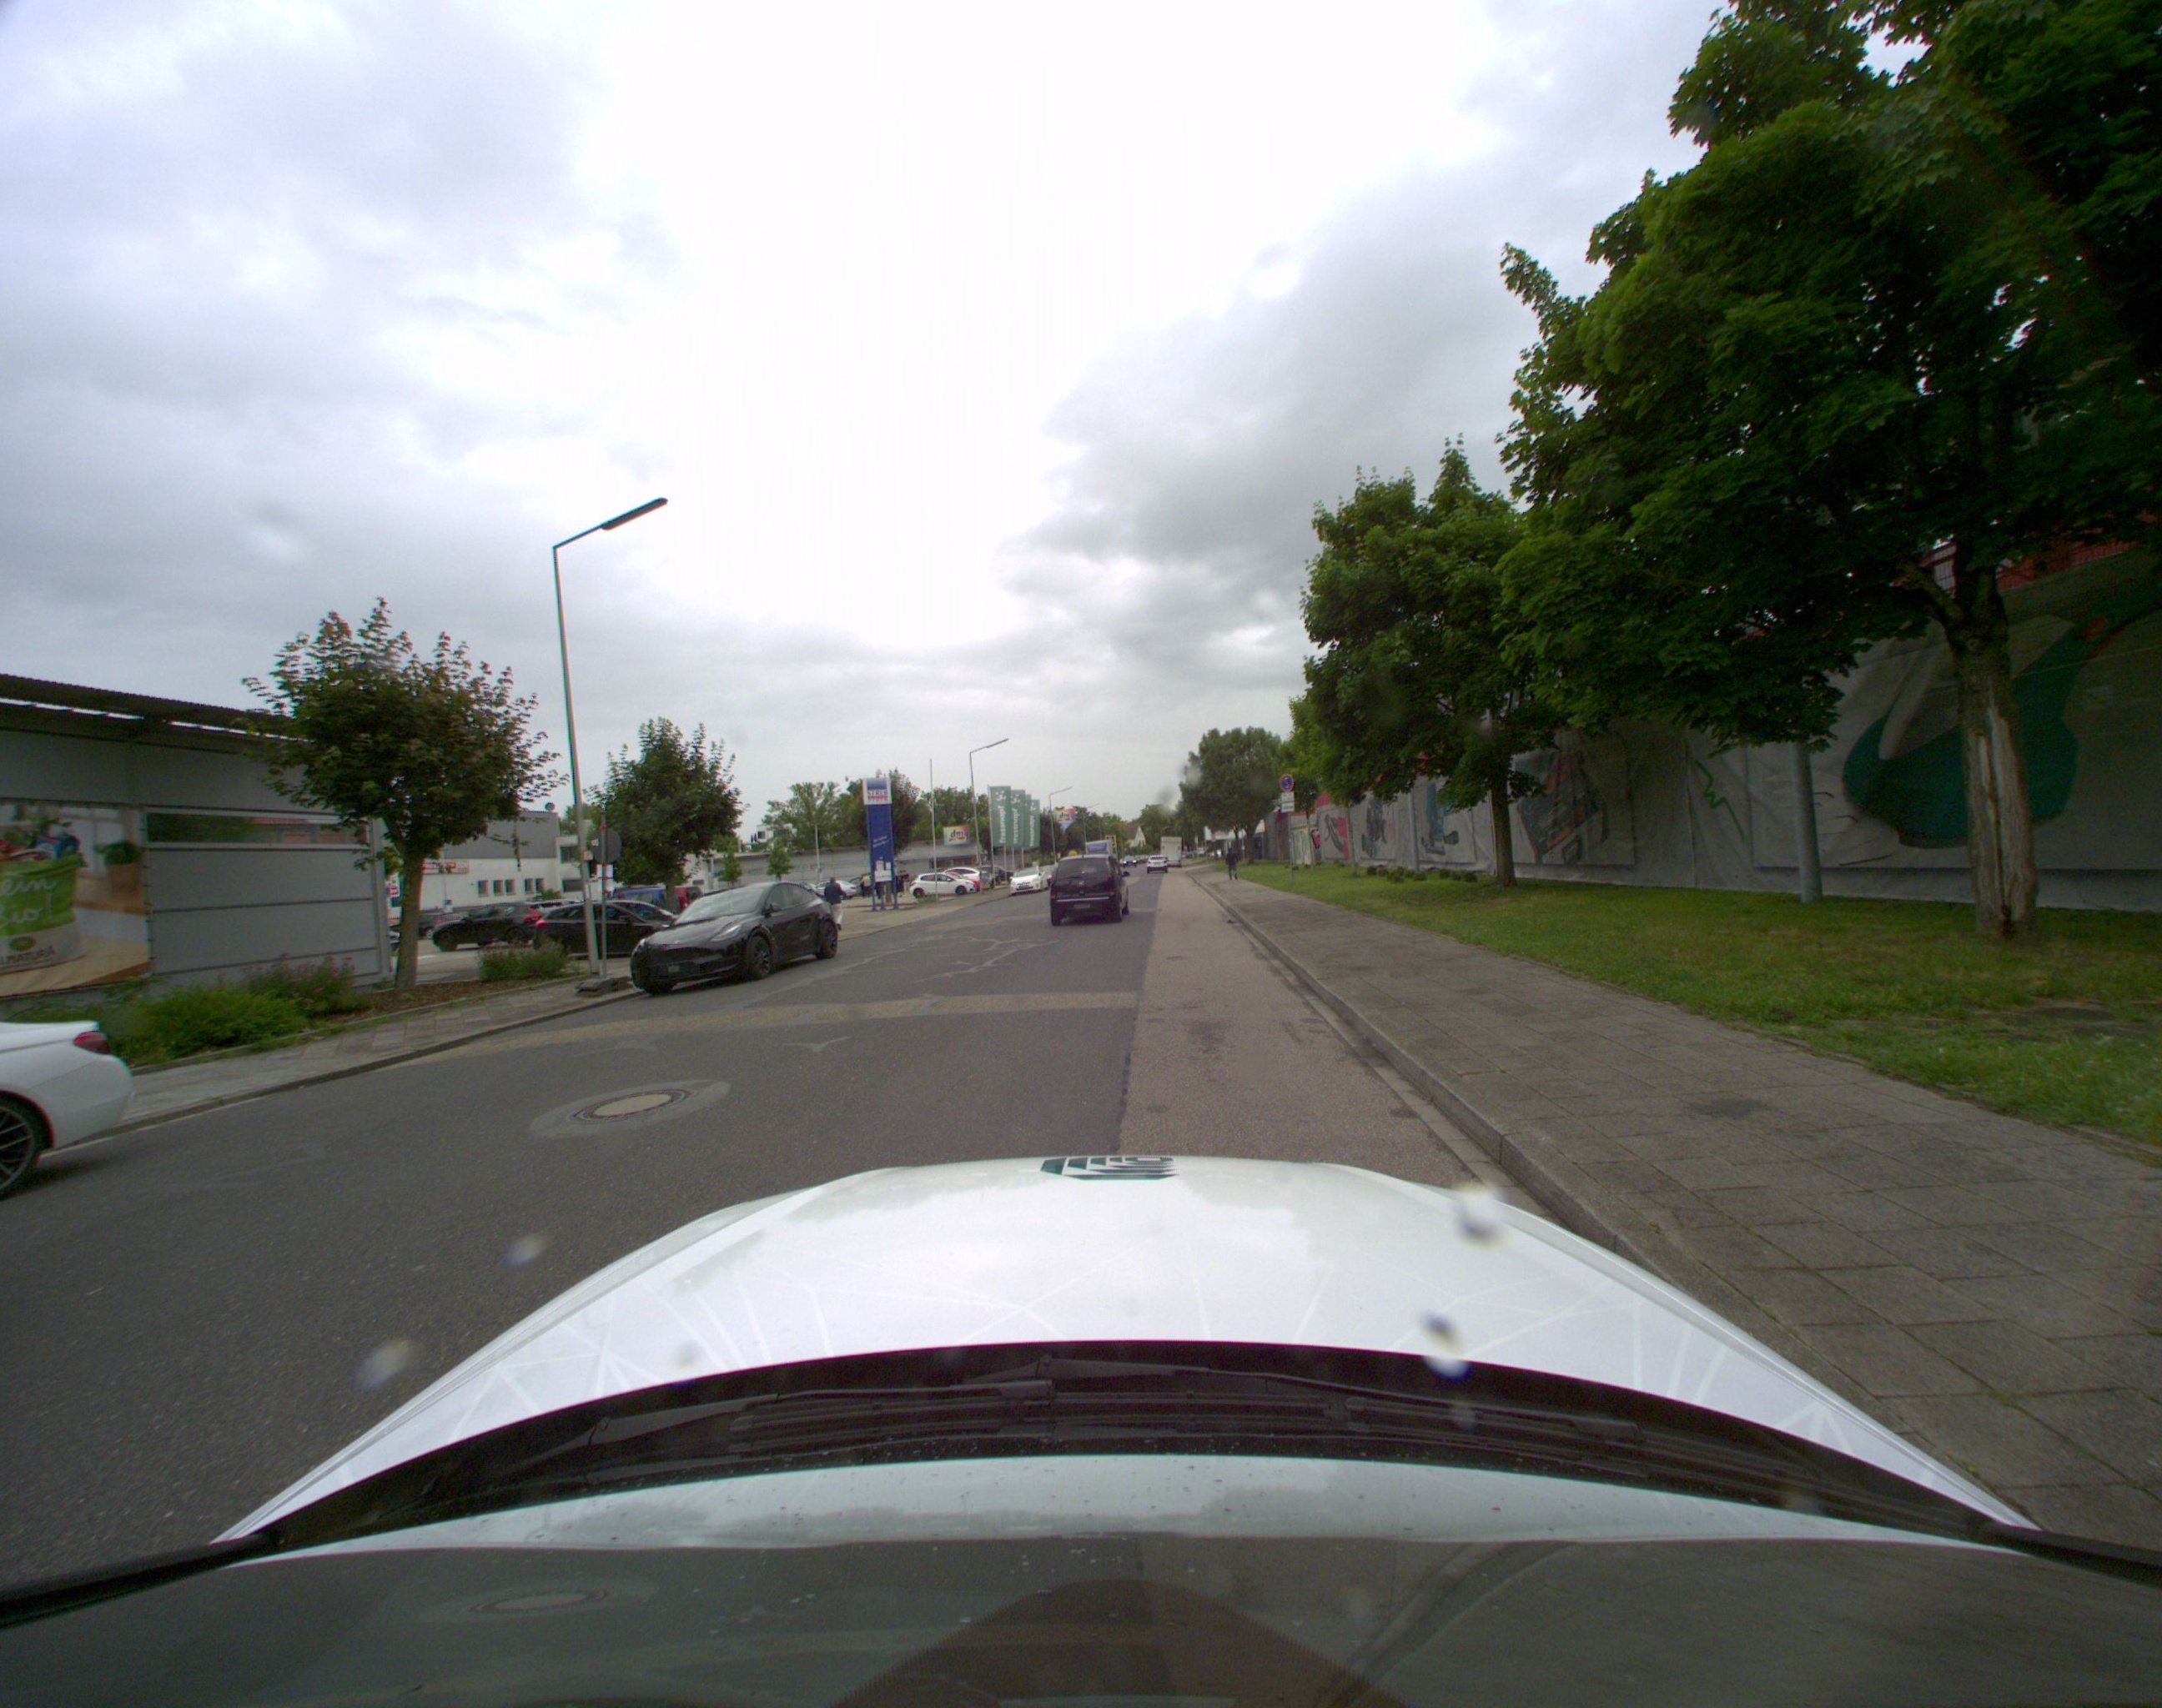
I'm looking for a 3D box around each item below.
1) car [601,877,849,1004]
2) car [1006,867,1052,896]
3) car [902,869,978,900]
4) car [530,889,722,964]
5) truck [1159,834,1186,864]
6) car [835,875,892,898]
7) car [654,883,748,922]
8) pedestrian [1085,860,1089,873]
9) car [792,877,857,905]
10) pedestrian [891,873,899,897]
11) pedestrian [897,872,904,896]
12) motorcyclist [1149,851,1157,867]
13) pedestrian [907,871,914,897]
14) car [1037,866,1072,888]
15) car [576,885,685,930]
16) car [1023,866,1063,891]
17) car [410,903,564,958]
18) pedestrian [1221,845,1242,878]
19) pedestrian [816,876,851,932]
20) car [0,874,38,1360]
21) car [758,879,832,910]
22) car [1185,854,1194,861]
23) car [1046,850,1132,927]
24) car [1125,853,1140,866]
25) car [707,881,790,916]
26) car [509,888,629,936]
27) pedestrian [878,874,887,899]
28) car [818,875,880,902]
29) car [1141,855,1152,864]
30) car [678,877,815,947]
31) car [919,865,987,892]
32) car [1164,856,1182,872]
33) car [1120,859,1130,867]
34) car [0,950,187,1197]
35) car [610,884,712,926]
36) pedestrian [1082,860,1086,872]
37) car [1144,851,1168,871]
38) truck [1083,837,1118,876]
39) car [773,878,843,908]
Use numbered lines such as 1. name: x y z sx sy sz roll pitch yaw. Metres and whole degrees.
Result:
1. car: -5.936 1.357 14.305 1.938 1.526 4.408 -9 -1 4
2. car: -2.945 1.543 46.927 1.888 1.367 4.007 -5 -1 6
3. car: -8.514 1.827 49.578 4.192 1.463 1.951 -5 -1 -2
4. car: -11.759 1.858 21.202 3.854 1.620 1.931 -3 -1 6
5. truck: 11.772 -0.532 105.749 3.120 3.585 10.063 -3 -1 5
6. car: -17.516 2.647 65.746 3.966 1.492 1.789 -4 -1 6
7. car: -19.997 2.525 42.957 3.967 1.669 1.879 -5 -1 6
8. pedestrian: 0.753 1.518 100.434 0.400 1.531 0.485 -5 -1 0
9. car: -18.632 2.705 59.257 3.967 1.669 1.879 -5 -1 6
10. pedestrian: -12.508 2.068 54.716 0.358 1.570 0.503 -4 -1 -5
11. pedestrian: -12.118 2.016 54.763 0.329 1.570 0.503 -3 -1 -5
12. motorcyclist: 7.361 0.482 82.881 0.621 1.554 0.605 -5 -1 8
13. pedestrian: -11.430 2.012 54.557 0.262 1.730 0.421 -4 -1 -6
14. car: -1.889 1.627 58.805 1.888 1.367 4.007 -4 -1 6
15. car: -20.925 2.482 37.890 3.967 1.669 1.879 -5 -1 6
16. car: -2.445 1.564 53.360 1.888 1.367 4.007 -4 -1 6
17. car: -21.291 2.716 29.400 3.998 1.485 1.865 -4 -1 -18
18. pedestrian: 7.641 0.373 41.323 0.914 1.635 0.854 -3 -1 8
19. pedestrian: -7.886 1.583 25.954 0.772 1.715 0.697 -4 -1 2
20. car: -5.030 1.003 0.787 1.923 1.684 4.504 -6 -1 7
21. car: -18.617 2.613 53.051 3.967 1.669 1.879 -5 -1 6
22. car: 26.588 0.768 199.707 1.876 1.683 4.262 -2 0 7
23. car: 0.286 0.785 20.328 1.672 1.632 3.765 -5 -1 6
24. car: 7.367 0.771 116.937 1.984 1.684 4.005 -3 -1 5
25. car: -19.642 2.594 48.177 3.967 1.669 1.879 -5 -1 6
26. car: -22.105 2.487 35.253 3.967 1.669 1.879 -5 -1 6
27. pedestrian: -13.196 2.157 54.148 0.455 1.642 0.373 -4 -1 -12
28. car: -17.561 2.595 61.780 3.967 1.669 1.879 -5 -1 6
29. car: 12.697 1.095 157.550 1.861 1.662 4.005 -5 -1 4
30. car: -11.656 1.993 28.555 3.918 2.013 1.760 -5 -1 -1
31. car: -8.555 1.604 54.532 4.121 1.463 1.898 -5 -1 0
32. car: 10.887 1.194 96.628 1.984 1.806 4.005 -3 -1 5
33. car: 7.586 1.537 140.740 1.615 1.375 3.457 -3 -1 5
34. car: -7.451 1.486 3.557 1.690 1.367 4.525 -9 -1 5
35. car: -20.758 2.518 40.302 3.967 1.669 1.879 -5 -1 6
36. pedestrian: 0.339 1.537 102.249 0.400 1.531 0.485 -5 -1 0
37. car: 6.540 0.586 70.424 1.876 1.532 4.262 -2 0 7
38. truck: 2.291 0.265 92.149 2.958 3.955 6.416 -6 -1 7
39. car: -18.604 2.665 55.527 3.967 1.669 1.879 -5 -1 6
